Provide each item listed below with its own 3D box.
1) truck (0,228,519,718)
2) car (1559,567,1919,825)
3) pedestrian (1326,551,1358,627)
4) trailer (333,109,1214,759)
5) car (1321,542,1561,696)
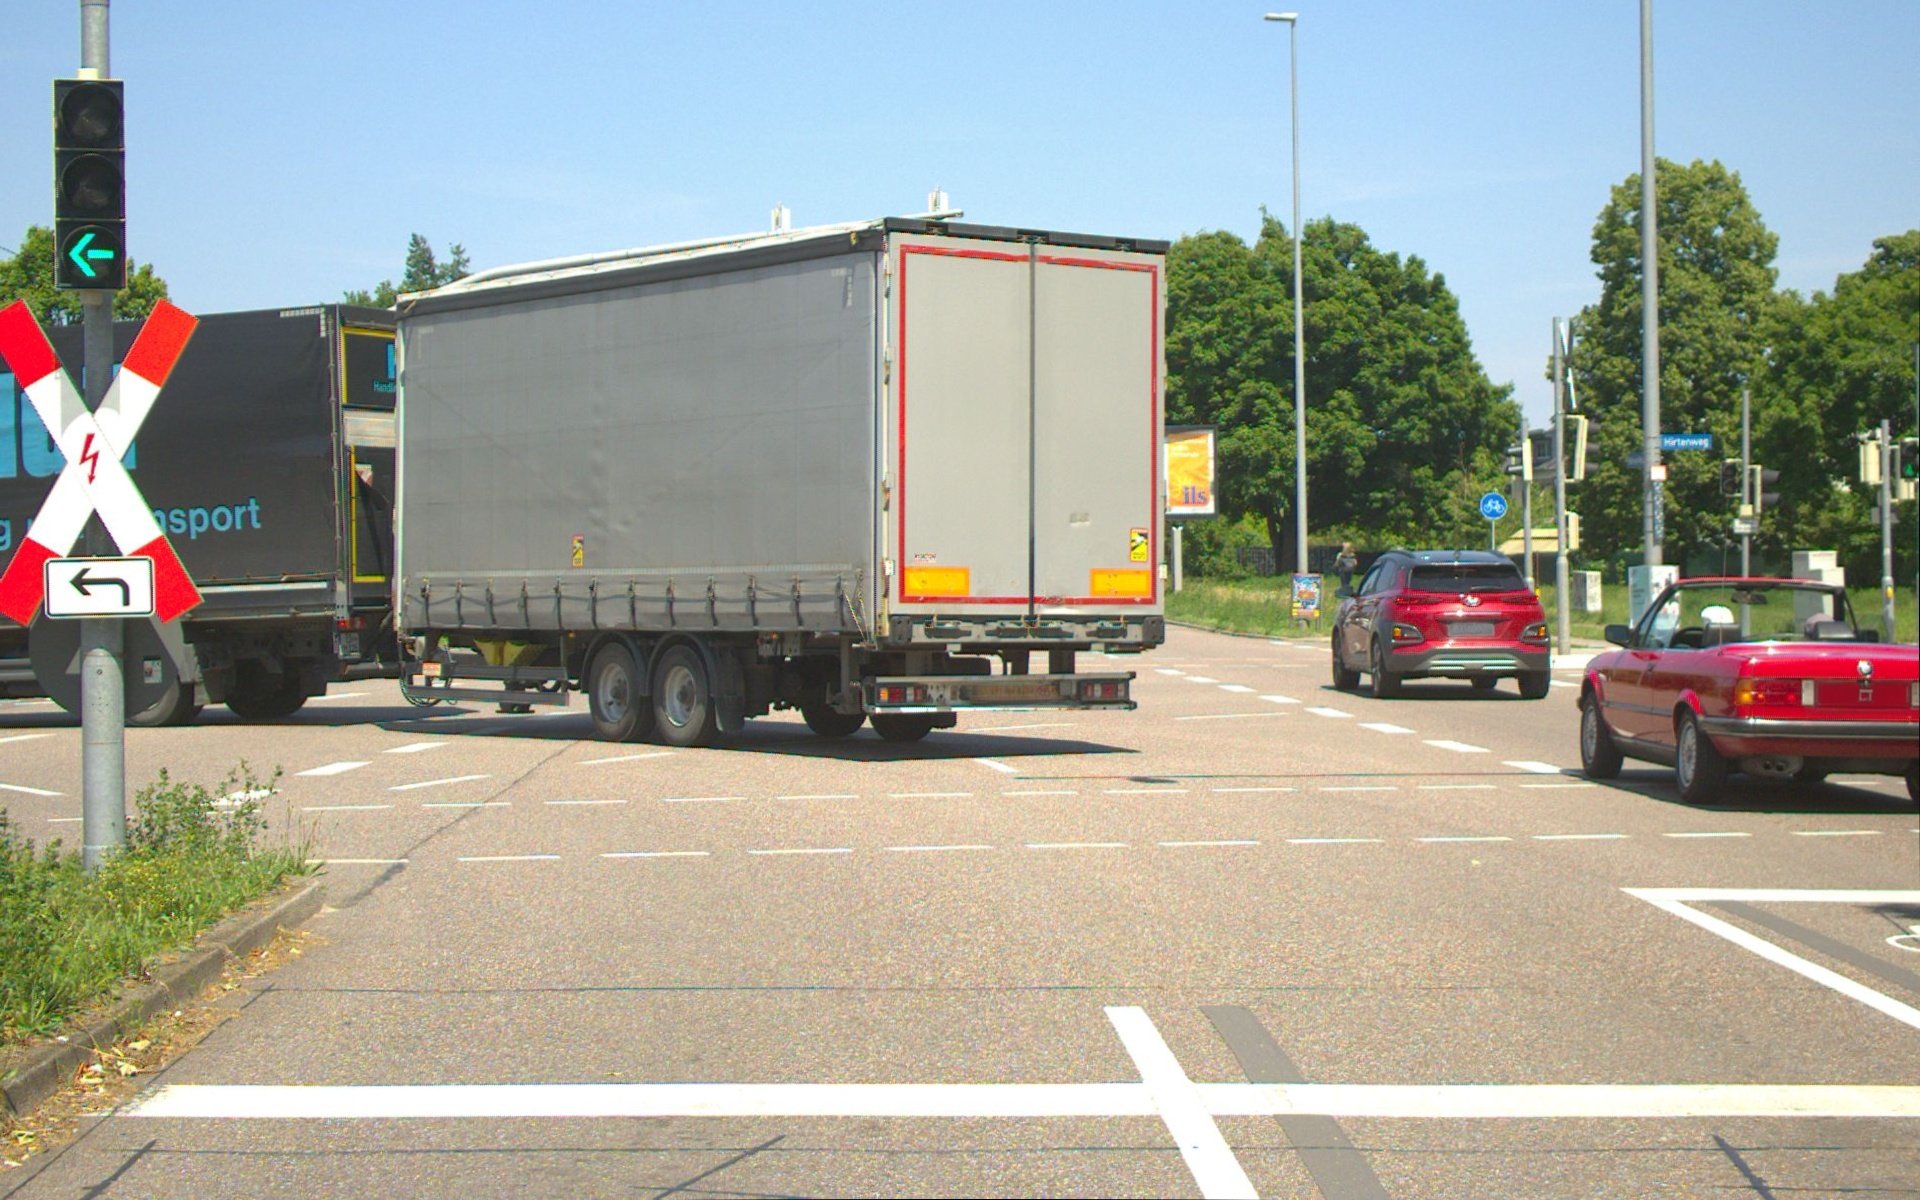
[{"bbox_3d":[-8.613,-1.059,33.380,8.267,4.330,2.833,-1,-1,24],"label":"truck"},{"bbox_3d":[5.019,0.518,21.324,1.654,1.392,4.268,1,1,-3],"label":"car"},{"bbox_3d":[10.073,-0.292,90.756,0.742,2.007,0.613,1,1,0],"label":"pedestrian"},{"bbox_3d":[-1.856,-1.144,27.714,2.827,4.406,8.748,0,0,-36],"label":"trailer"},{"bbox_3d":[5.141,0.164,37.196,1.858,1.544,3.887,1,1,-3],"label":"car"}]
